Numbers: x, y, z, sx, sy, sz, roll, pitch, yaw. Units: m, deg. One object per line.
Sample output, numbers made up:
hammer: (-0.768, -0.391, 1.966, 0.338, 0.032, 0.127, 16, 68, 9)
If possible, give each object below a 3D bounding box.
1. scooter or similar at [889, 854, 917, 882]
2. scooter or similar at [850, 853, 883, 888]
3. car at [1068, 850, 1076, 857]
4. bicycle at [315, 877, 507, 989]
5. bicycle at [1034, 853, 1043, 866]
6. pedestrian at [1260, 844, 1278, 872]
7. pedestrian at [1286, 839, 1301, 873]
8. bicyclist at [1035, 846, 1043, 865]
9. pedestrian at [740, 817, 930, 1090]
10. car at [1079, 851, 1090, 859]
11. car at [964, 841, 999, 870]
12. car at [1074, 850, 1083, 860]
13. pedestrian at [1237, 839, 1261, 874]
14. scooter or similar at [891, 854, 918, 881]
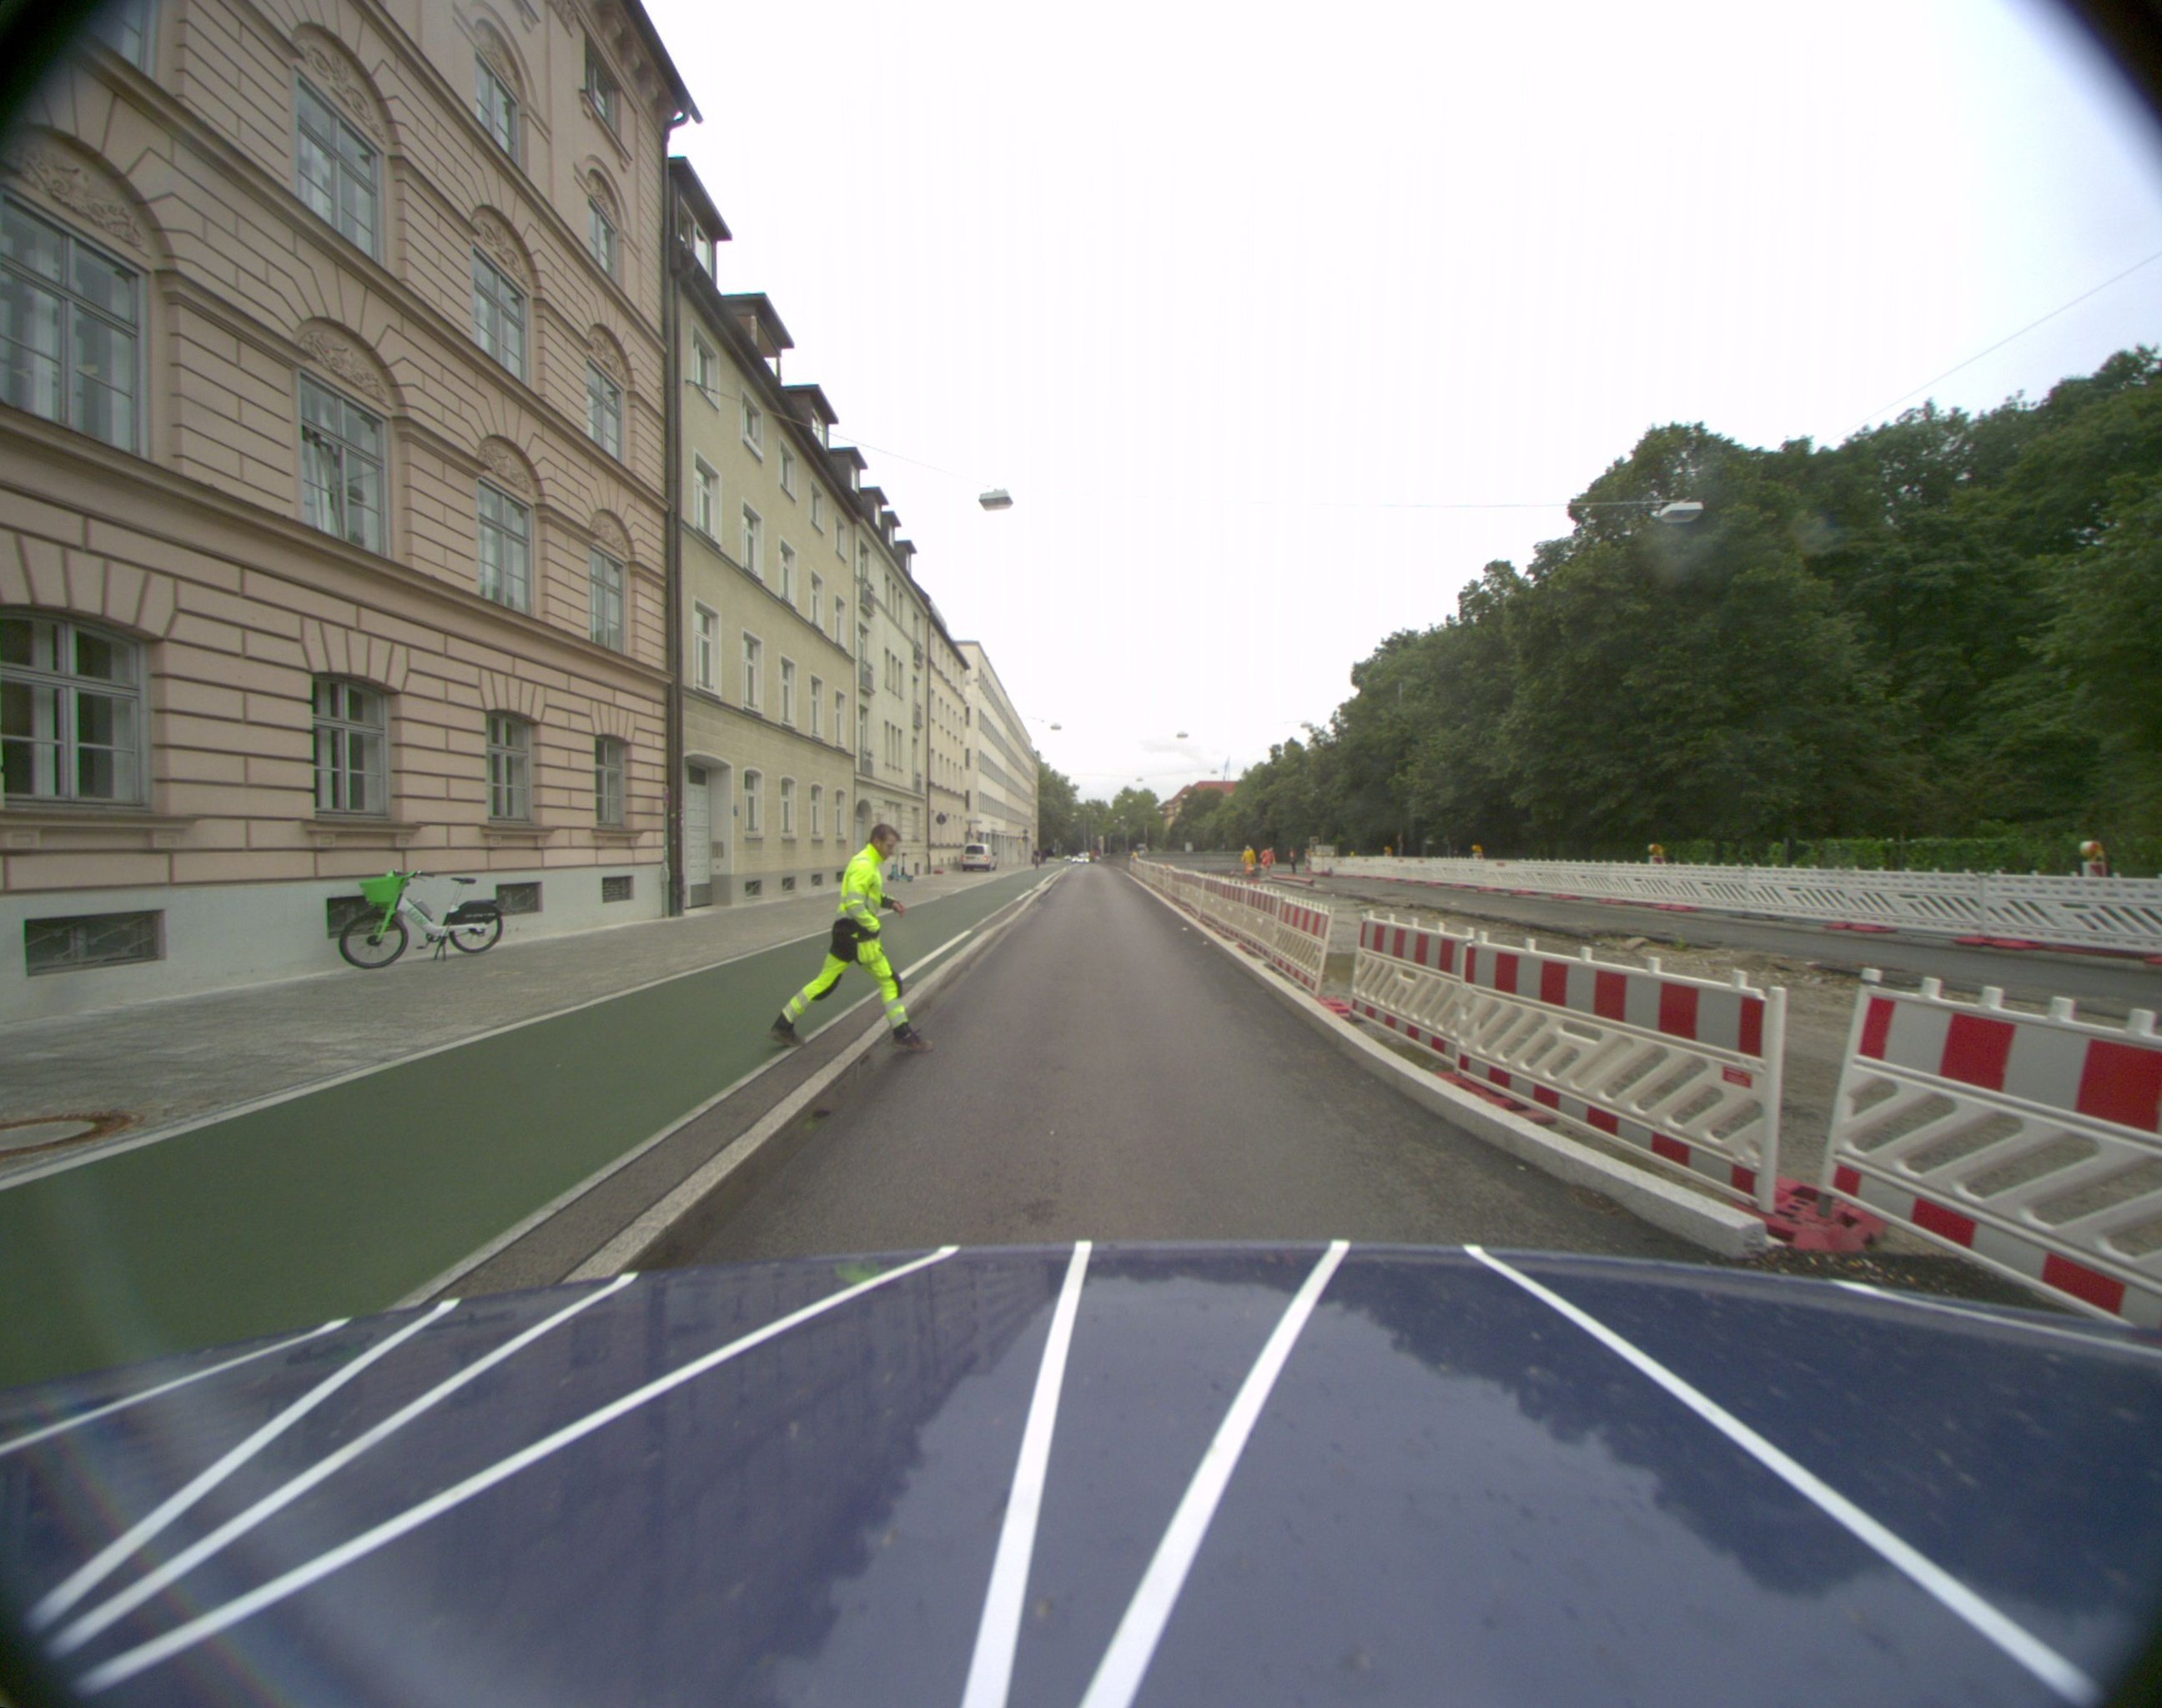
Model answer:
scooter or similar: (-7.664, 0.589, 32.756, 1.078, 1.185, 0.453, 0, 1, -29)
scooter or similar: (-7.895, 0.603, 27.972, 0.552, 1.238, 1.079, 1, 1, 35)
car: (-2.495, -0.149, 213.957, 1.999, 2.002, 3.998, -2, 1, -1)
bicycle: (-8.137, 0.904, 9.339, 0.556, 1.170, 1.727, 1, 1, 15)
bicycle: (-3.362, 0.411, 59.841, 0.632, 1.031, 2.016, 0, 1, -6)
pedestrian: (11.255, 0.243, 45.445, 0.900, 1.679, 0.911, 0, 1, 4)
pedestrian: (12.404, 0.129, 44.395, 0.666, 1.959, 0.807, 1, 1, 27)
bicyclist: (-3.293, 0.124, 59.859, 0.632, 1.459, 0.652, 0, 1, -6)
pedestrian: (-1.801, 0.645, 5.618, 0.813, 1.793, 0.994, 0, 2, 41)
car: (0.710, 0.169, 144.049, 1.759, 1.461, 3.998, -1, 1, -4)
car: (-6.535, 0.073, 50.483, 1.766, 1.821, 3.999, 0, 1, 0)
car: (-0.500, 0.184, 175.503, 1.998, 2.002, 3.999, -2, 1, 1)
pedestrian: (9.097, 0.127, 41.188, 0.877, 1.826, 0.858, -1, 1, -38)
scooter or similar: (-7.917, 0.608, 34.094, 1.079, 1.185, 0.436, -1, 1, -39)
